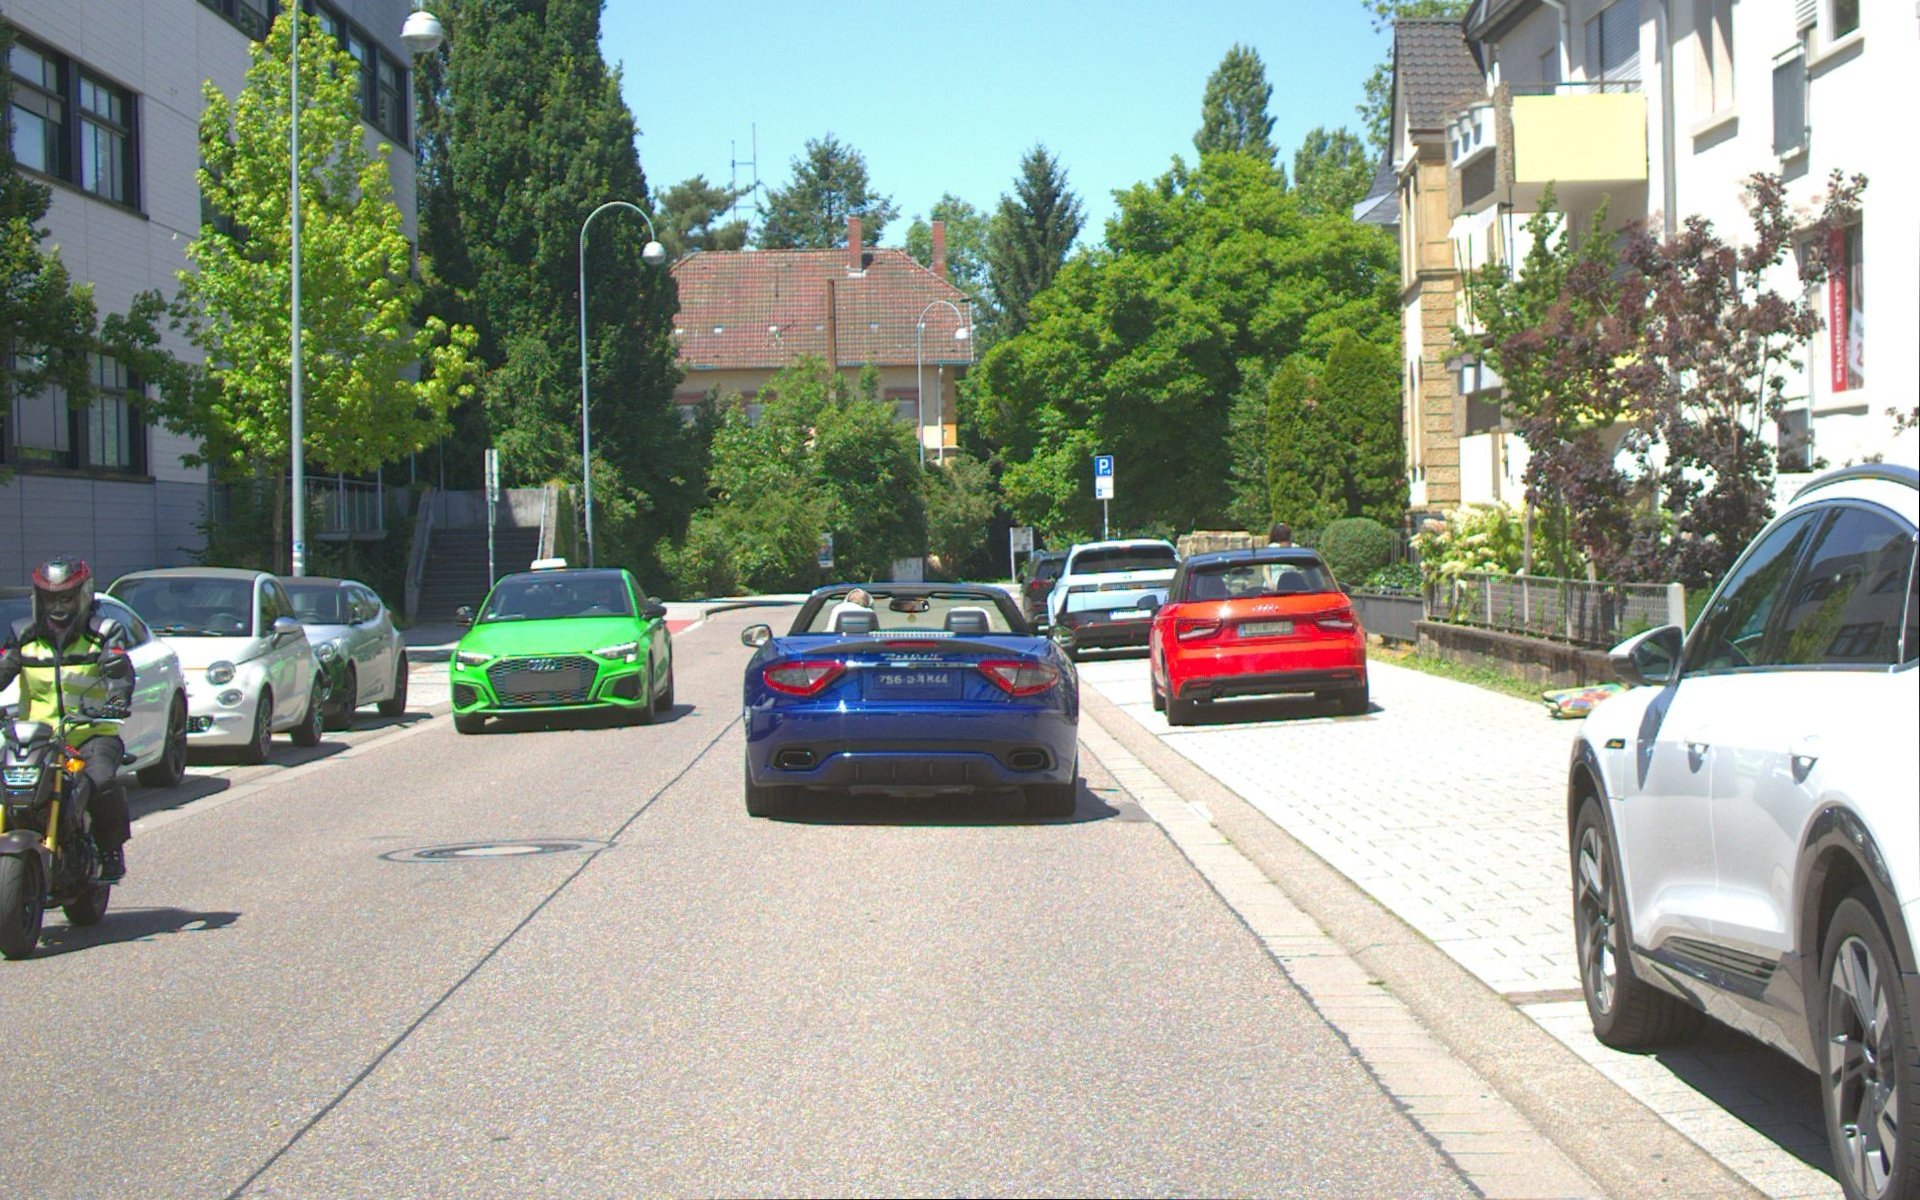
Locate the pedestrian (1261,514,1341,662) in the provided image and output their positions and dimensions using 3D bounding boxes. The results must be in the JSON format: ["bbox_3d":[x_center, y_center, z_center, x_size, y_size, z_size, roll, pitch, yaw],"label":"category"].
[{"bbox_3d":[3.979,-0.142,40.125,0.740,1.664,0.706,-4,1,-2],"label":"pedestrian"}]

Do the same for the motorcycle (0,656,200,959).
[{"bbox_3d":[-3.698,0.821,14.171,0.699,1.103,1.790,-2,1,0],"label":"motorcycle"}]

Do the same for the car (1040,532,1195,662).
[{"bbox_3d":[2.101,-0.072,46.886,1.843,1.614,4.427,-3,1,0],"label":"car"}]

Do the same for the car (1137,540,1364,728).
[{"bbox_3d":[2.465,0.244,29.930,1.603,1.436,3.853,-4,1,1],"label":"car"}]

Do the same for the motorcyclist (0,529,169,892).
[{"bbox_3d":[-3.702,0.441,14.094,0.699,1.428,0.707,-2,1,0],"label":"motorcyclist"}]

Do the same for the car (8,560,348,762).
[{"bbox_3d":[-6.284,0.434,28.092,1.822,1.507,4.290,0,1,0],"label":"car"}]

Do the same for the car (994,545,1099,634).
[{"bbox_3d":[1.514,-0.212,61.339,1.631,1.441,4.398,-4,1,-1],"label":"car"}]

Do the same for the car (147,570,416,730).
[{"bbox_3d":[-6.414,0.432,32.886,1.748,1.404,3.933,0,1,1],"label":"car"}]

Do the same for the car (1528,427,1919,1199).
[{"bbox_3d":[2.637,0.464,8.373,1.705,1.660,4.580,-1,1,0],"label":"car"}]

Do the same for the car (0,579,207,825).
[{"bbox_3d":[-6.292,0.581,22.345,1.822,1.406,4.577,0,1,0],"label":"car"}]

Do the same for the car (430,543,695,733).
[{"bbox_3d":[-3.643,0.303,32.169,1.822,1.583,4.100,-3,1,2],"label":"car"}]

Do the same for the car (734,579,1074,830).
[{"bbox_3d":[-0.324,0.548,20.846,1.826,1.332,4.700,0,1,-1],"label":"car"}]
